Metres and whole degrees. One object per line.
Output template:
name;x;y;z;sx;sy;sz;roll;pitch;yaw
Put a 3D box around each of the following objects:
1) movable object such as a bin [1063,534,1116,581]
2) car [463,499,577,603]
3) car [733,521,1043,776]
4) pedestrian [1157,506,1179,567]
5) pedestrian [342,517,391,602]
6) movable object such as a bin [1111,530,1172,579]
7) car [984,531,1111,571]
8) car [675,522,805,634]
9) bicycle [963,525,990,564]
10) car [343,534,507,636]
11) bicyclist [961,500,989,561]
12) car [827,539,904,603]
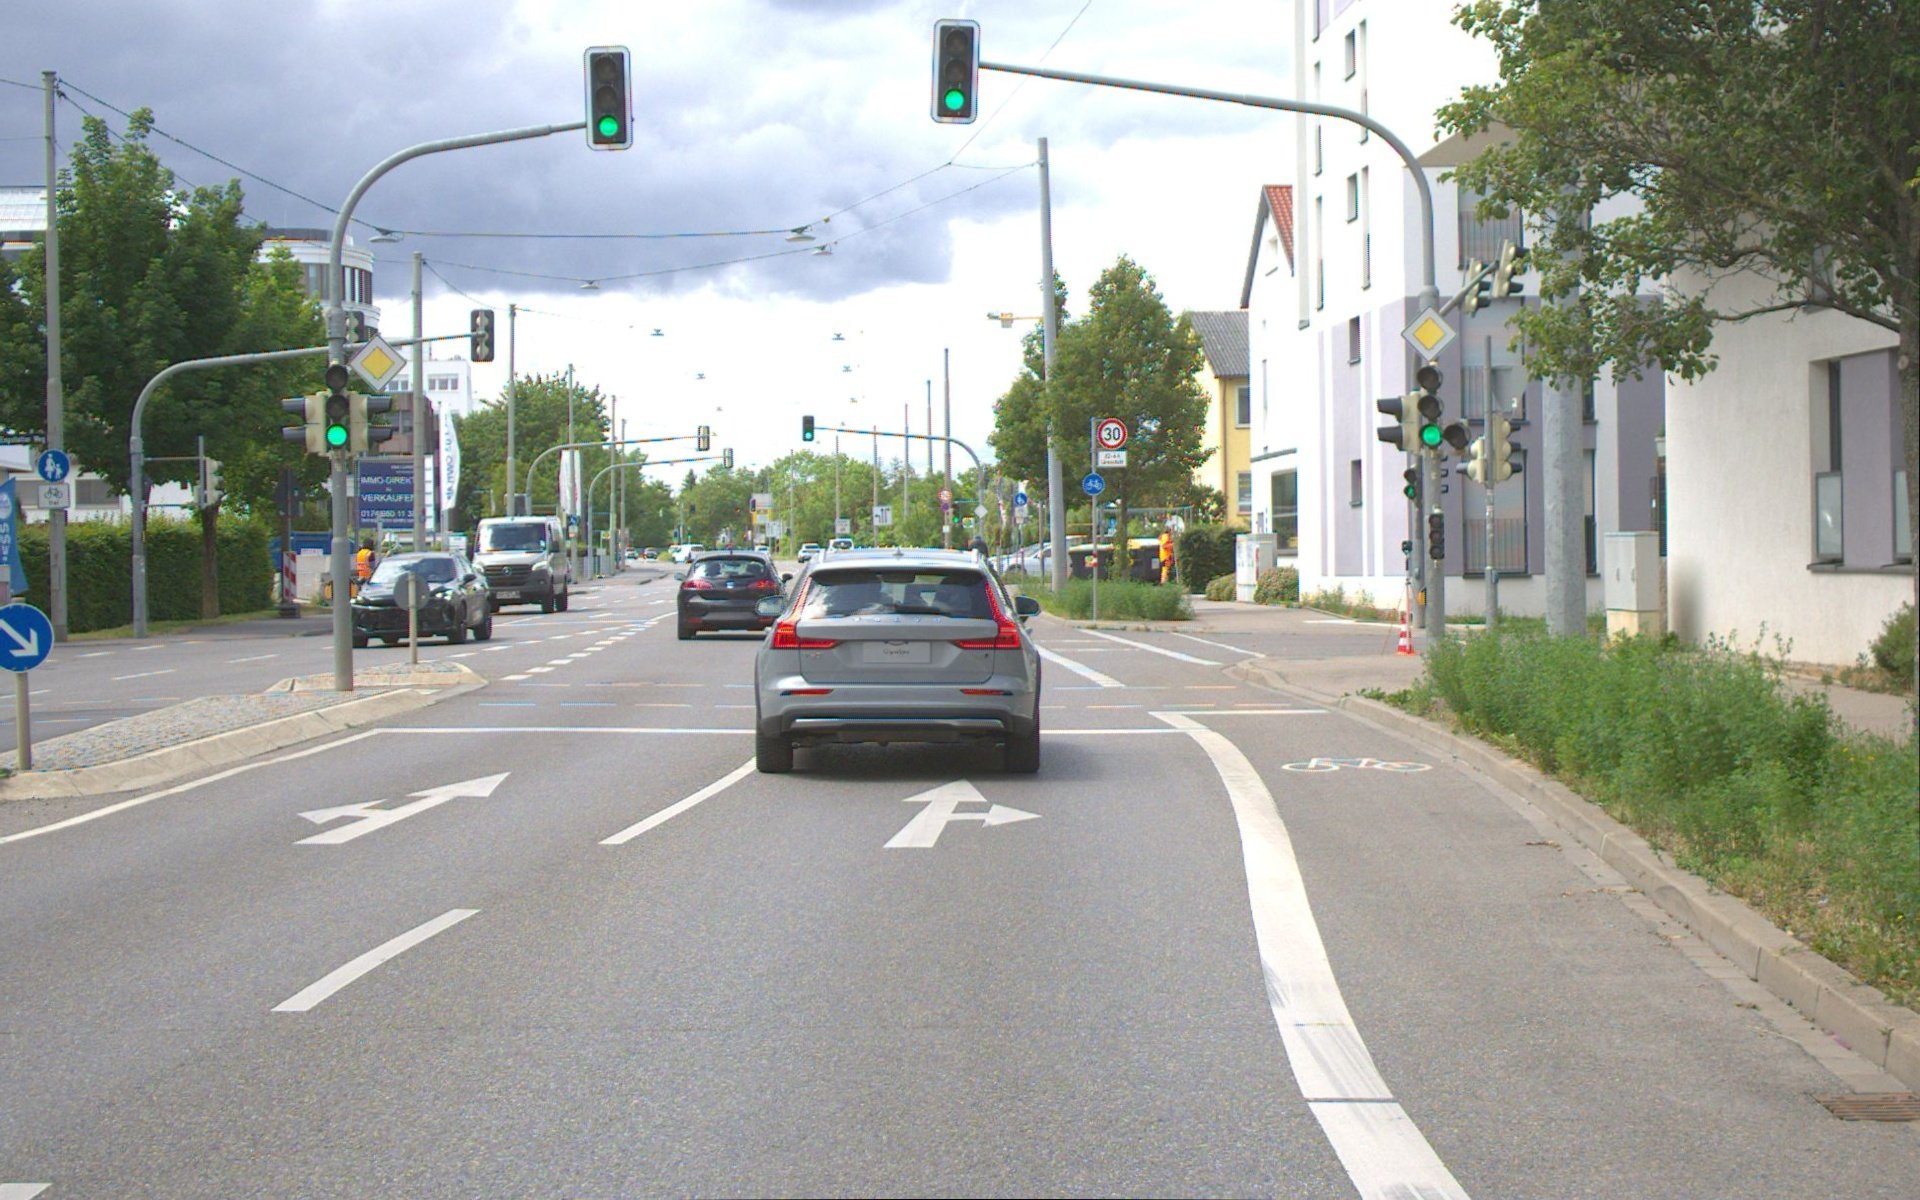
movable object such as a bin;3.831;-1.258;101.759;1.320;1.356;1.250;-1;0;14
car;-11.102;-1.240;87.088;2.142;2.463;6.073;-2;1;-1
car;-0.494;0.298;23.459;1.895;1.549;4.000;1;0;-1
pedestrian;6.070;-1.859;100.279;0.507;1.759;0.500;1;0;15
pedestrian;-14.049;-0.958;81.394;0.725;2.007;0.808;1;0;41
movable object such as a bin;5.394;-1.354;102.247;1.321;1.430;1.249;-1;0;35
car;3.318;-1.860;130.938;4.696;1.488;2.046;0;1;-2
car;-3.605;-0.348;56.092;1.993;1.711;4.001;1;0;-4
bicycle;0.464;-1.575;97.797;0.638;1.059;1.978;-4;1;-2
car;-8.714;-0.239;56.347;1.885;1.547;4.540;-2;0;1
bicyclist;0.430;-1.980;97.908;0.638;1.670;0.890;-4;1;-2
car;-2.607;-0.783;94.088;1.993;1.689;4.000;1;0;-3
